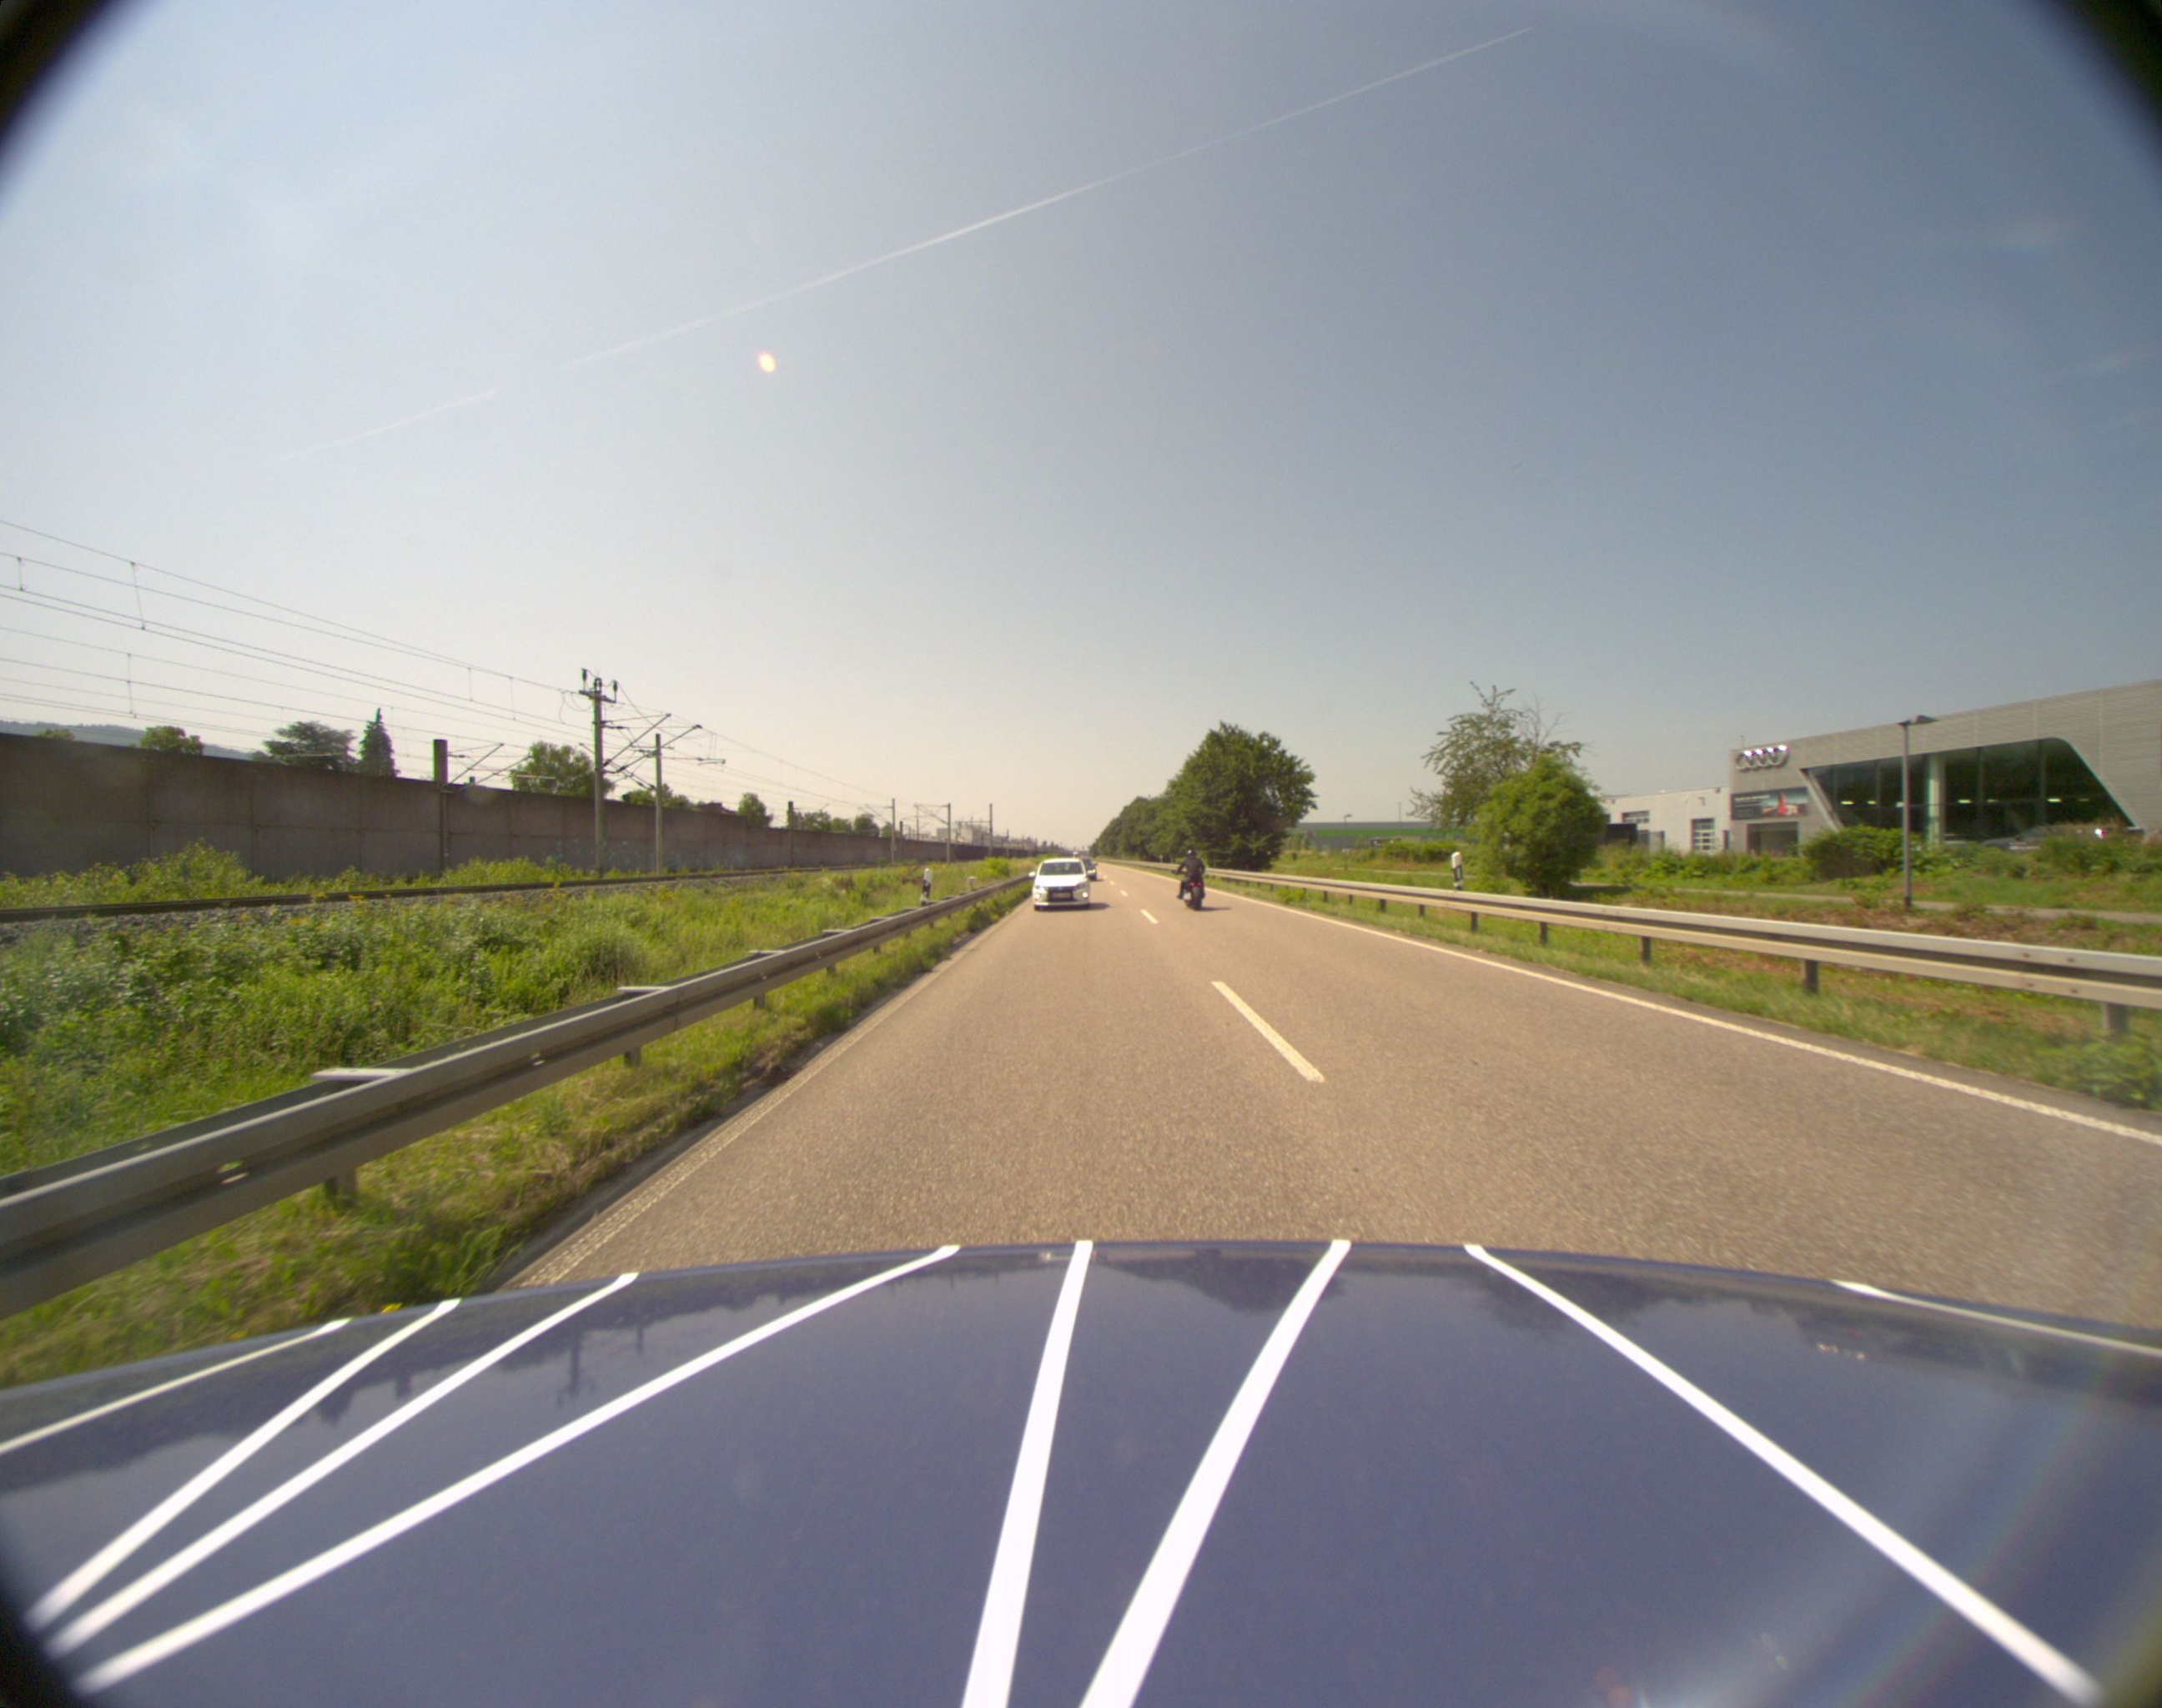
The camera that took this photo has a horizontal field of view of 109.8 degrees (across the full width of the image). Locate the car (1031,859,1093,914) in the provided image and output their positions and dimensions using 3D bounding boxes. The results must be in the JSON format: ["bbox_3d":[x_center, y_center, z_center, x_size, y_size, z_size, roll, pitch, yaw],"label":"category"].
[{"bbox_3d":[-0.565,0.918,23.419,1.701,1.470,4.155,-2,0,-1],"label":"car"}]

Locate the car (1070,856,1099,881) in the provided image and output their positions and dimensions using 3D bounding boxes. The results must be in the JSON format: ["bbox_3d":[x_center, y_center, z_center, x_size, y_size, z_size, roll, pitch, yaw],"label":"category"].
[{"bbox_3d":[0.180,0.870,47.306,1.711,1.470,4.155,-2,0,-1],"label":"car"}]

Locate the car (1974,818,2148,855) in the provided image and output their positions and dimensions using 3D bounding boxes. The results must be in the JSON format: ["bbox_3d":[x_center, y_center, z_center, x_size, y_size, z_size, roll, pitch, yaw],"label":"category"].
[{"bbox_3d":[43.310,-0.745,33.793,1.751,1.528,4.665,0,0,1],"label":"car"}]

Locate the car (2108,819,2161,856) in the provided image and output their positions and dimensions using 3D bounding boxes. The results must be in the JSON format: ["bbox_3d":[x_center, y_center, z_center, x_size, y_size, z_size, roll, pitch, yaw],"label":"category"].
[{"bbox_3d":[42.880,-0.651,28.744,1.751,1.428,4.665,0,0,1],"label":"car"}]

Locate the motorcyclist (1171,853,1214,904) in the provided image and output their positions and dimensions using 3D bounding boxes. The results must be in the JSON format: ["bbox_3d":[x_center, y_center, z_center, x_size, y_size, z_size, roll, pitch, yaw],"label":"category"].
[{"bbox_3d":[2.984,0.646,20.394,0.996,1.302,0.935,-2,1,1],"label":"motorcyclist"}]

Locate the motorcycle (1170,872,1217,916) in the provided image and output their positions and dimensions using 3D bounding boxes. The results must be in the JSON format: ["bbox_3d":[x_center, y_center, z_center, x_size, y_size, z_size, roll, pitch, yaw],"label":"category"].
[{"bbox_3d":[3.012,1.060,20.527,0.930,1.022,2.268,-2,0,1],"label":"motorcycle"}]
